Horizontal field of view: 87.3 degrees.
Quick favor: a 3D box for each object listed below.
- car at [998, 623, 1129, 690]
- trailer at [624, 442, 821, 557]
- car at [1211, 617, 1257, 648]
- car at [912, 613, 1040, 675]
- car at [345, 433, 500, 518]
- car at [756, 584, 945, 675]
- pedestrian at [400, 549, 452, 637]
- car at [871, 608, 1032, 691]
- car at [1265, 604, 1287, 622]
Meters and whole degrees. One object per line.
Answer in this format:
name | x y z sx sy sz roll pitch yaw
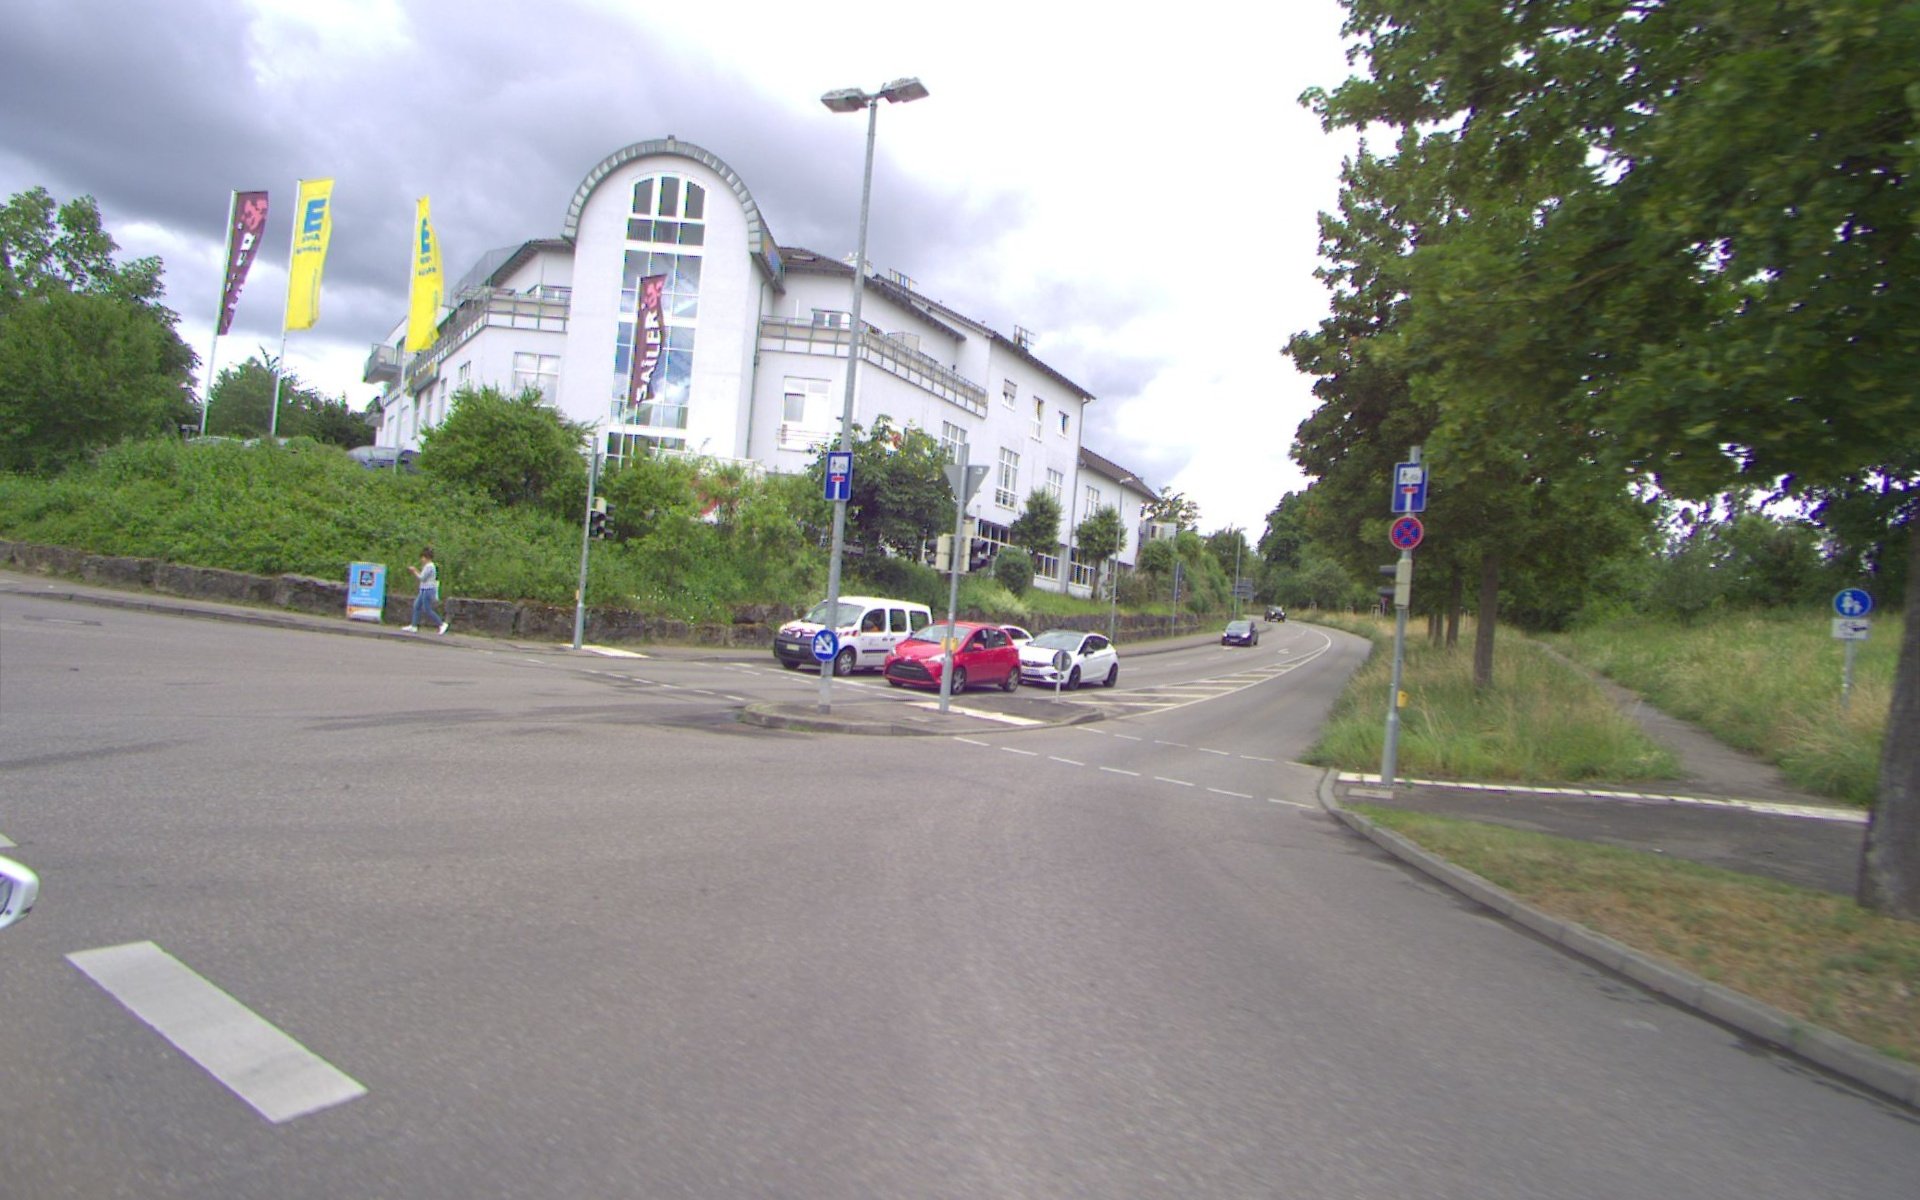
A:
car | 2.849 1.480 26.806 1.731 1.473 4.302 6 1 31
trailer | -8.612 -3.623 37.078 6.375 3.090 2.472 7 -2 -2
car | 15.639 1.819 57.217 1.729 1.475 3.823 5 3 26
car | 0.519 1.270 28.961 1.933 1.474 3.823 6 1 31
car | -16.475 -3.765 31.164 1.796 1.657 4.519 7 -2 7
car | -2.482 0.763 24.087 1.919 1.822 4.713 6 0 31
pedestrian | -10.348 -0.137 19.508 0.619 1.627 0.574 8 -2 -40
car | -0.094 1.133 22.261 1.731 1.515 3.825 6 -1 31
car | 33.944 1.371 108.175 1.787 1.833 4.562 -1 0 11
